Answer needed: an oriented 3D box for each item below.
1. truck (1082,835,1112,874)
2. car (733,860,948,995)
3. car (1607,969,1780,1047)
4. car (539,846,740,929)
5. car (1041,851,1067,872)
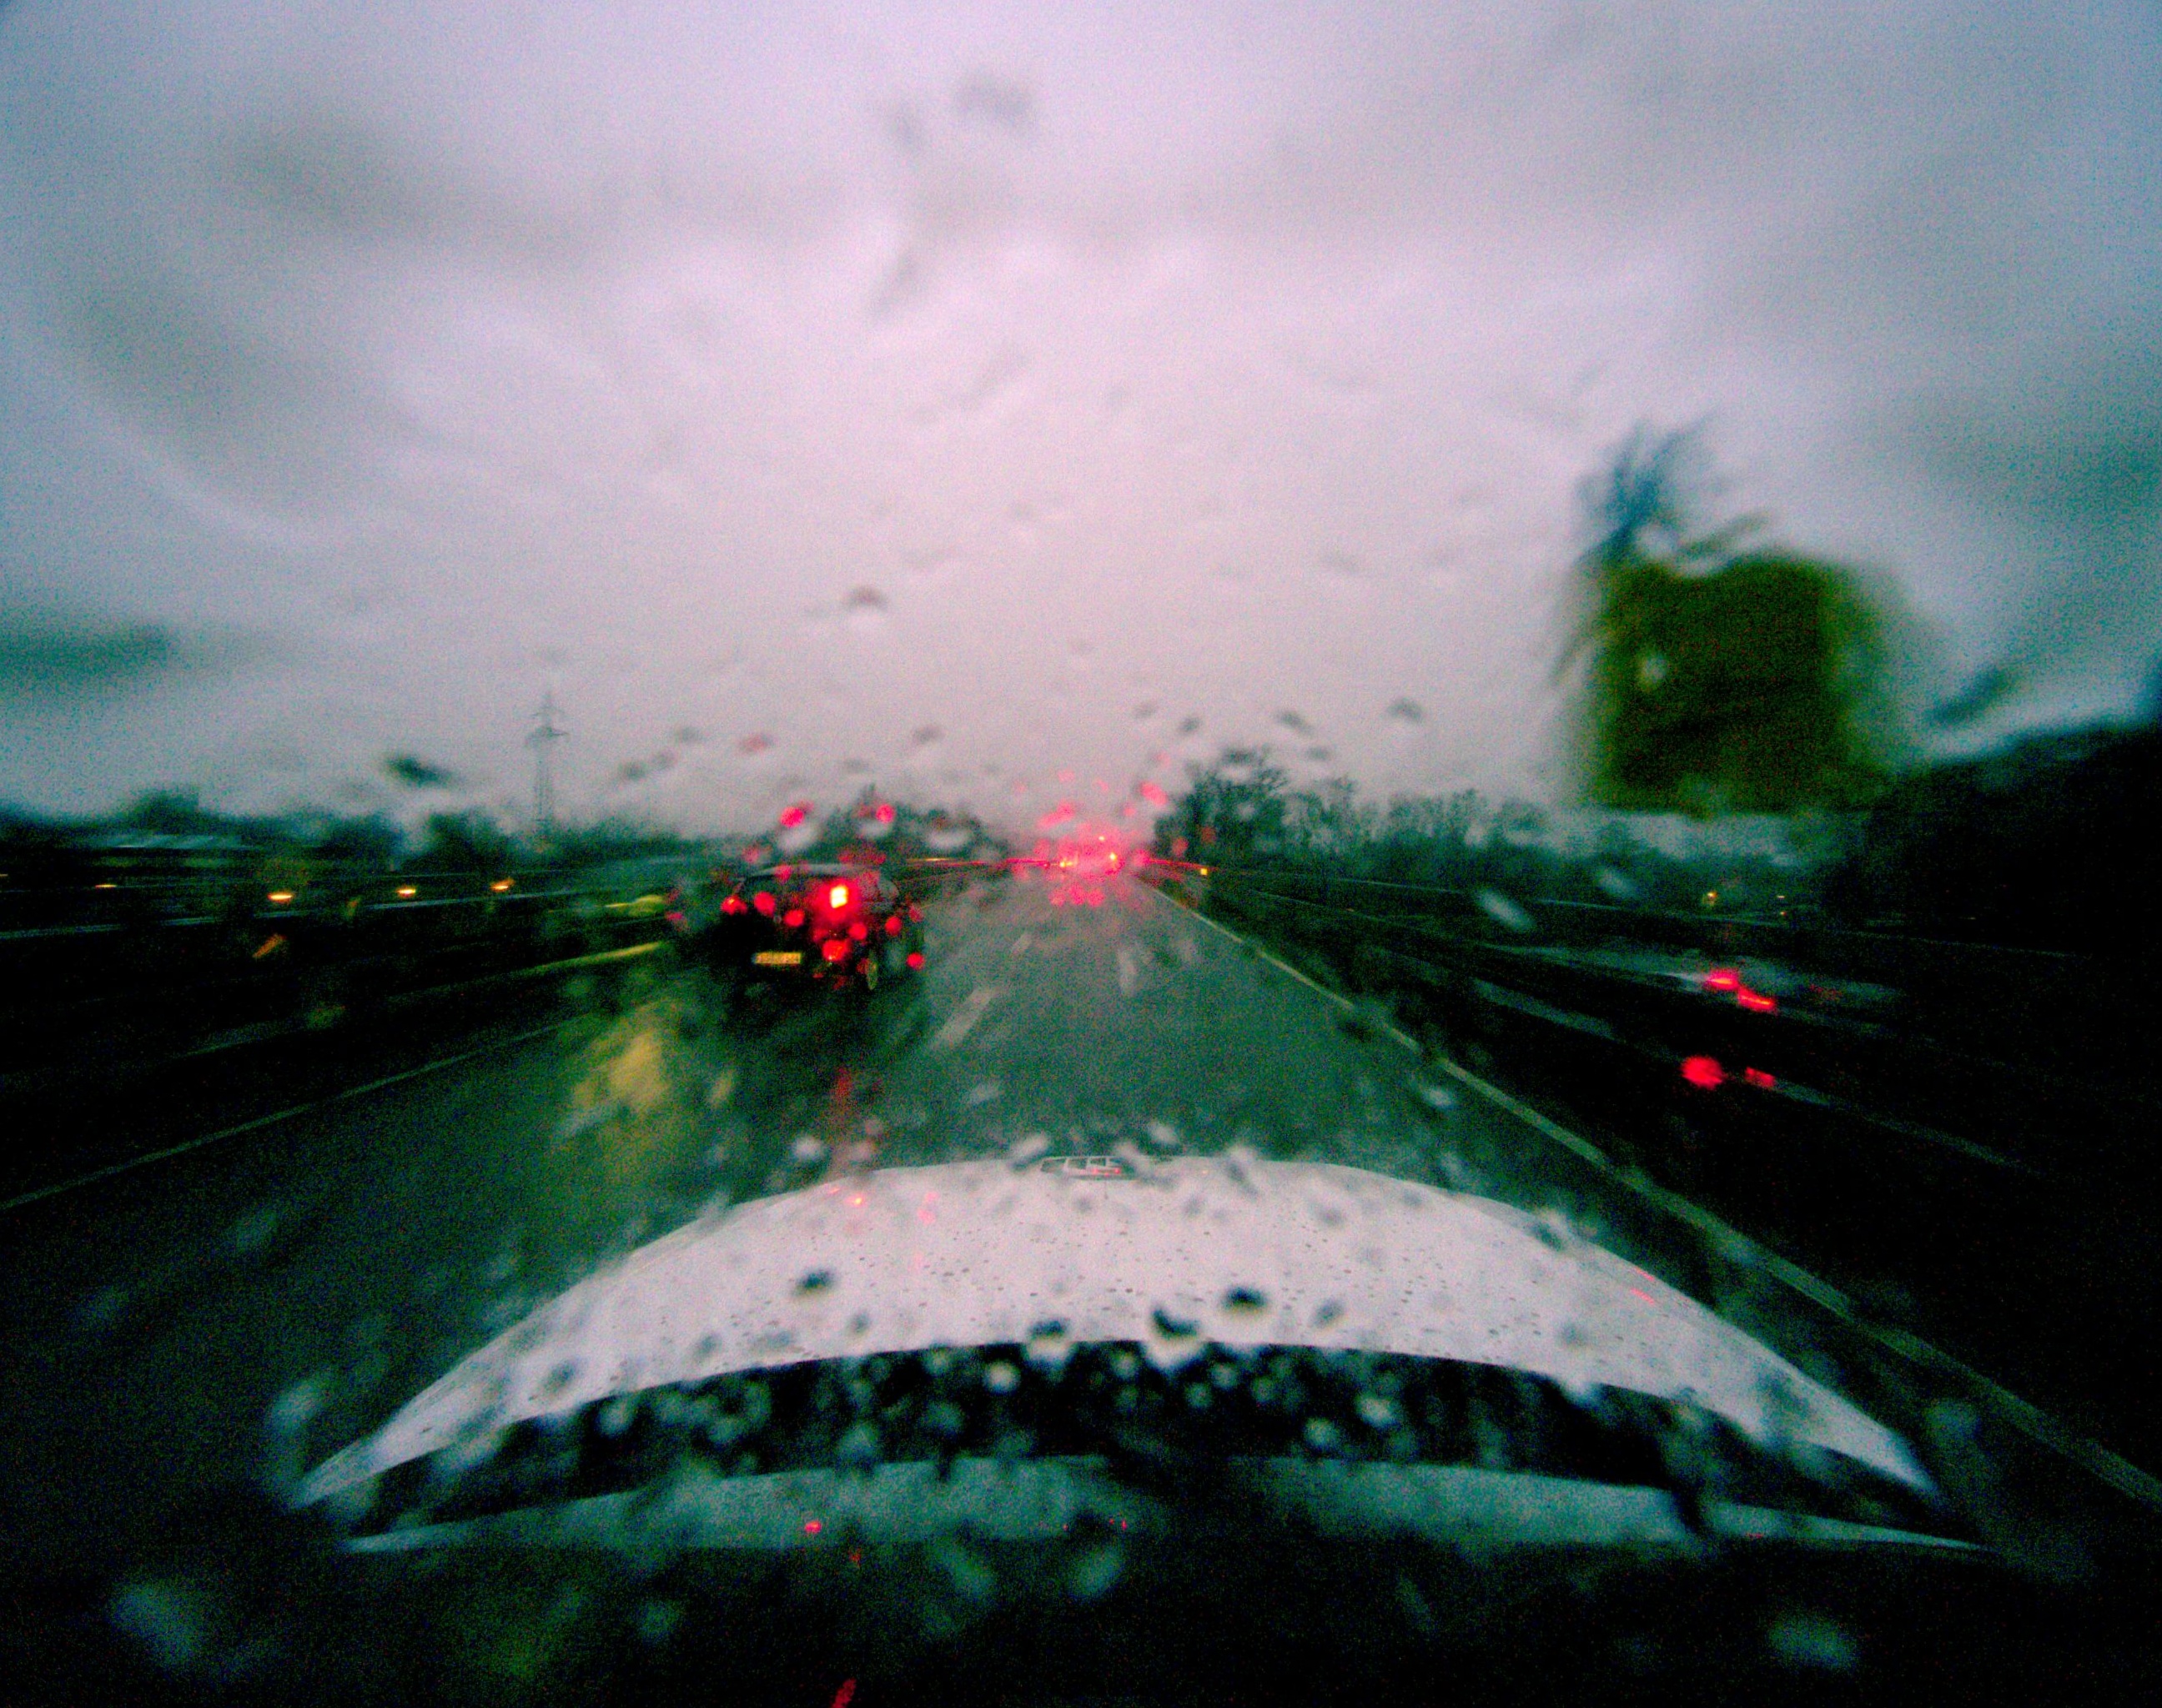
[{"bbox_3d":[1.358,0.113,68.048,2.374,2.909,4.674,-1,-4,1],"label":"truck"},{"bbox_3d":[-2.896,0.797,10.705,1.620,1.392,3.999,-1,0,0],"label":"car"},{"bbox_3d":[16.280,4.046,21.935,1.670,1.281,4.000,5,-1,1],"label":"car"},{"bbox_3d":[-9.451,0.622,17.945,1.672,1.405,4.511,-4,1,3],"label":"car"},{"bbox_3d":[-2.037,0.617,63.046,1.828,1.537,4.000,0,-2,1],"label":"car"}]
